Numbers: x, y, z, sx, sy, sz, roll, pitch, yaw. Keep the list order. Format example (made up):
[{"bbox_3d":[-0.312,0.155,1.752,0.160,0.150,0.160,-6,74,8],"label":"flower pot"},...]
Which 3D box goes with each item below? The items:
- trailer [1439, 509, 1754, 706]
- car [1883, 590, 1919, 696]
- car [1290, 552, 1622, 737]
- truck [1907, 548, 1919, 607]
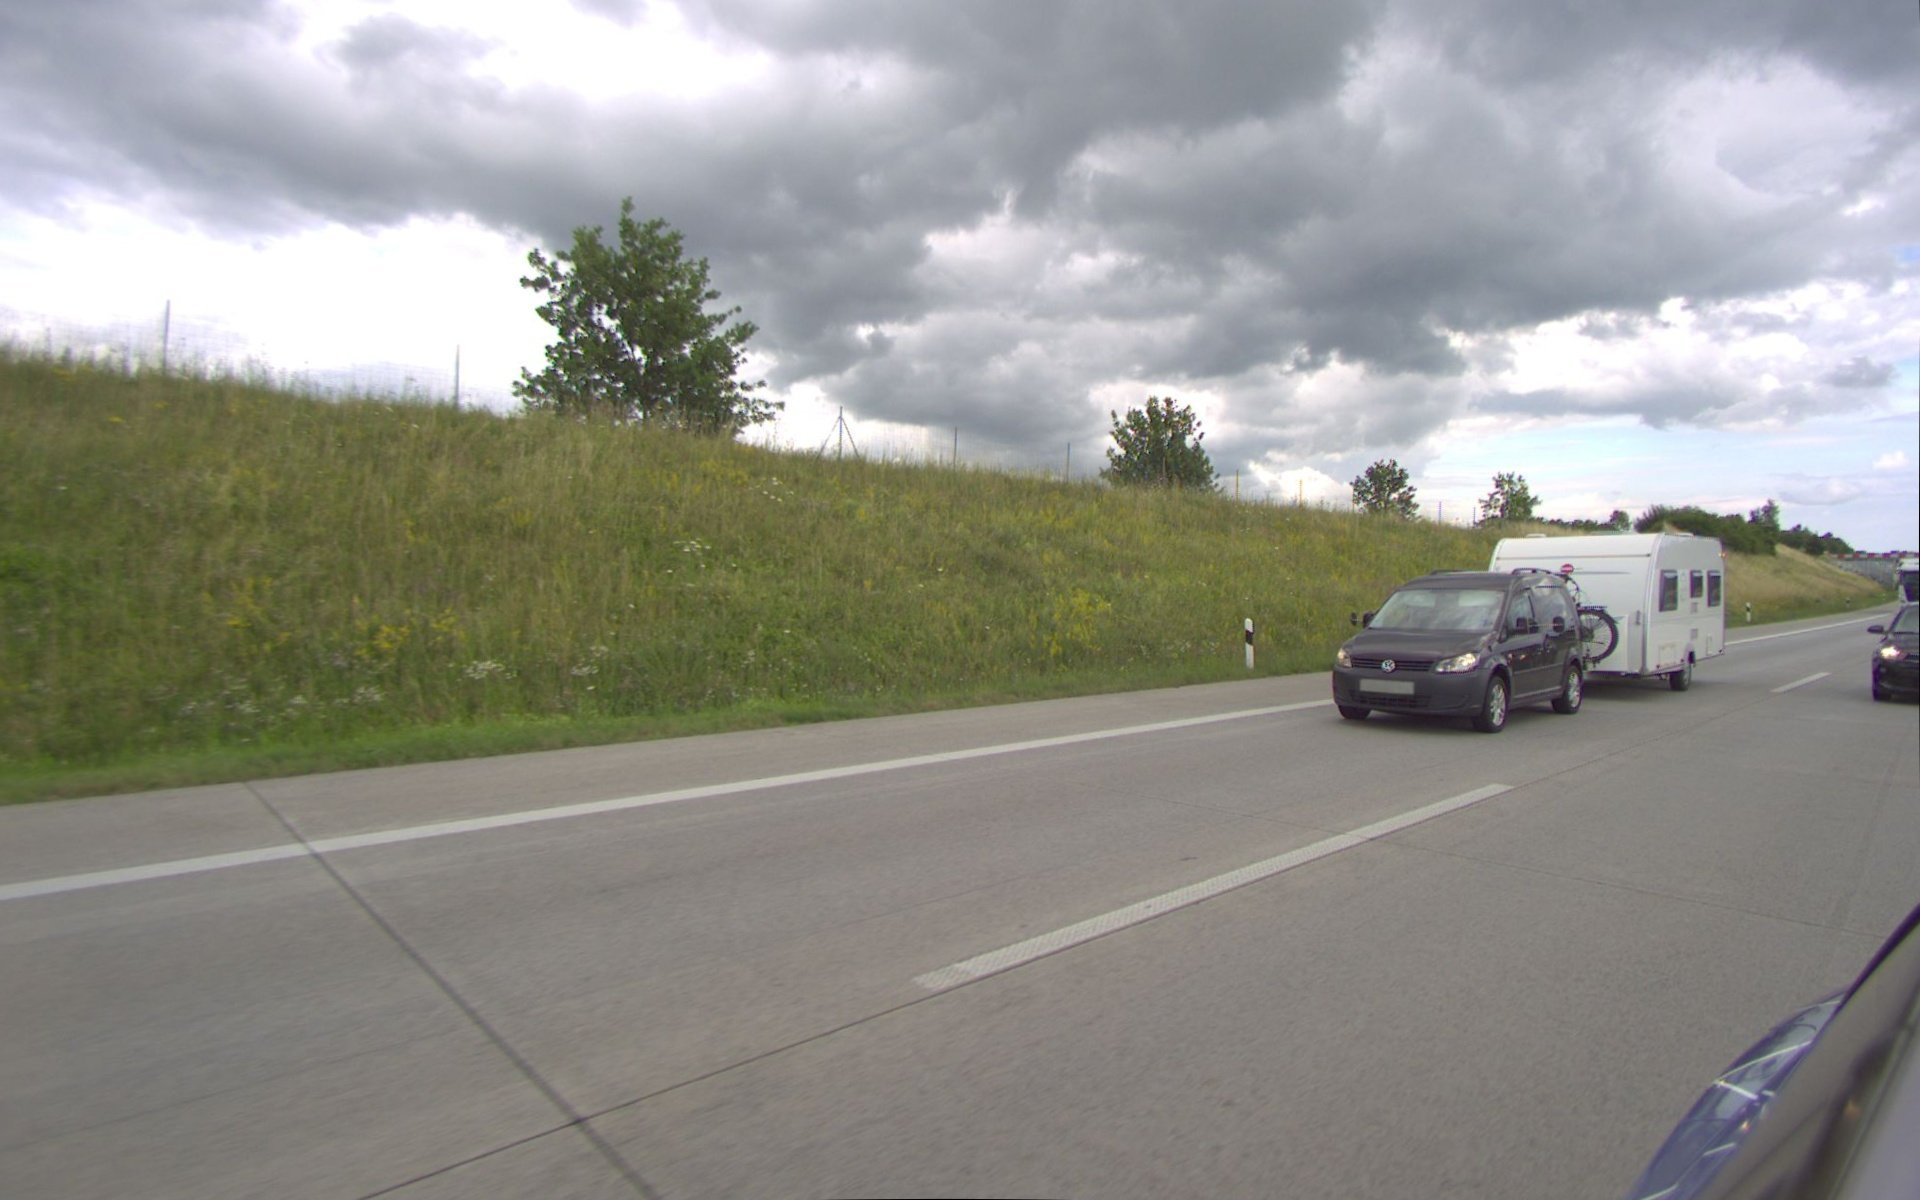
[{"bbox_3d":[10.488,0.032,16.365,6.606,2.566,2.612,-1,1,-42],"label":"trailer"},{"bbox_3d":[15.005,0.590,14.903,3.931,1.431,1.689,-1,1,-42],"label":"car"},{"bbox_3d":[6.216,0.393,12.375,4.946,1.832,1.942,-1,1,-42],"label":"car"},{"bbox_3d":[72.730,-1.617,75.144,10.529,4.253,2.850,0,1,-43],"label":"truck"}]
